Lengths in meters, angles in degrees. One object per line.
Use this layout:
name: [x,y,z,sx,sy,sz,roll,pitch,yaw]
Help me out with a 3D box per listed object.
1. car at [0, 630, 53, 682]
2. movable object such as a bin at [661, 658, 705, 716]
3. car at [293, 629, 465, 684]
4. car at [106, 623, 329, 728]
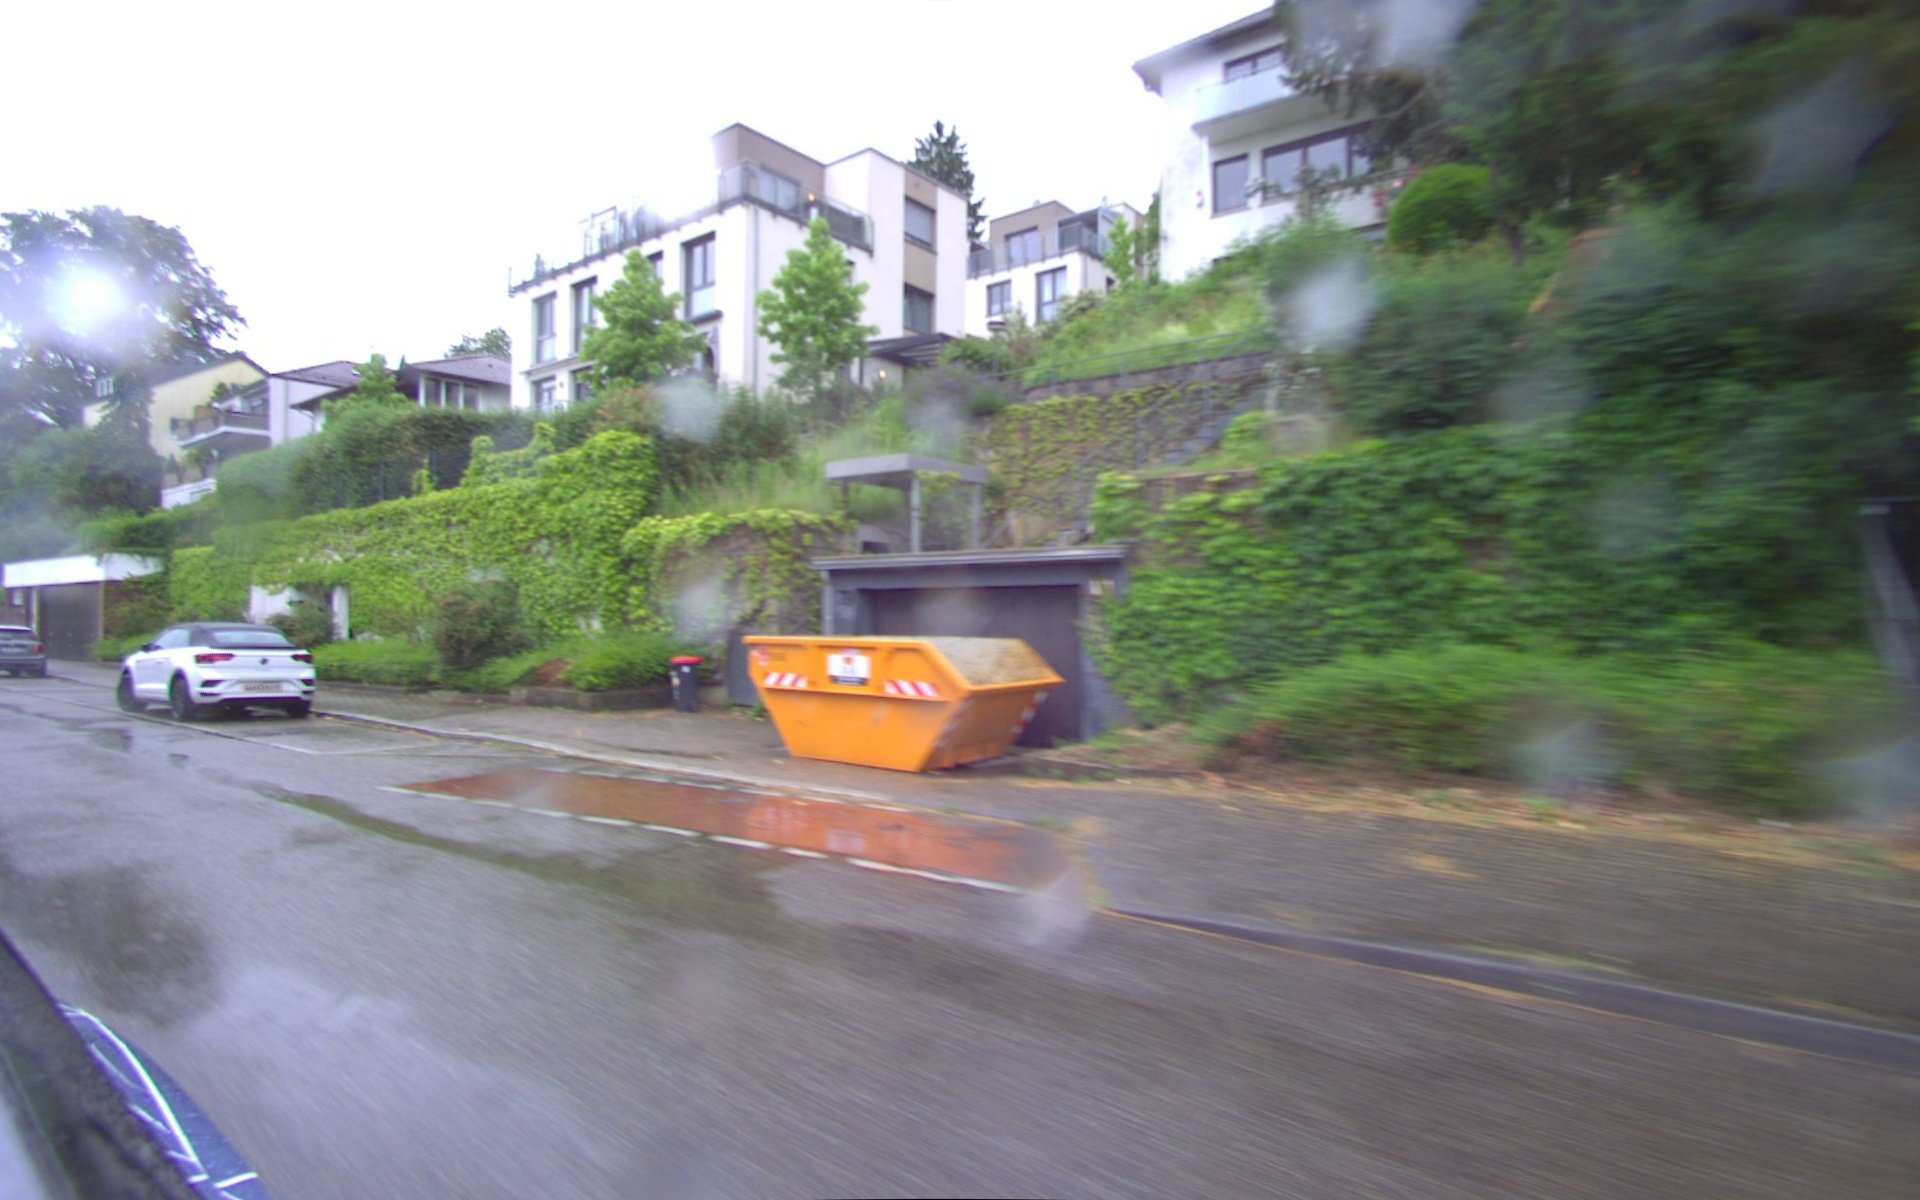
car: [-27.312,1.554,28.538,3.761,1.413,1.740,-1,-4,35]
movable object such as a bin: [-4.334,1.353,15.811,0.548,0.826,0.394,3,1,37]
car: [-15.949,1.507,27.903,1.864,1.394,3.720,-2,-2,39]
car: [-12.265,1.159,16.640,4.211,1.509,1.740,-1,-3,36]
